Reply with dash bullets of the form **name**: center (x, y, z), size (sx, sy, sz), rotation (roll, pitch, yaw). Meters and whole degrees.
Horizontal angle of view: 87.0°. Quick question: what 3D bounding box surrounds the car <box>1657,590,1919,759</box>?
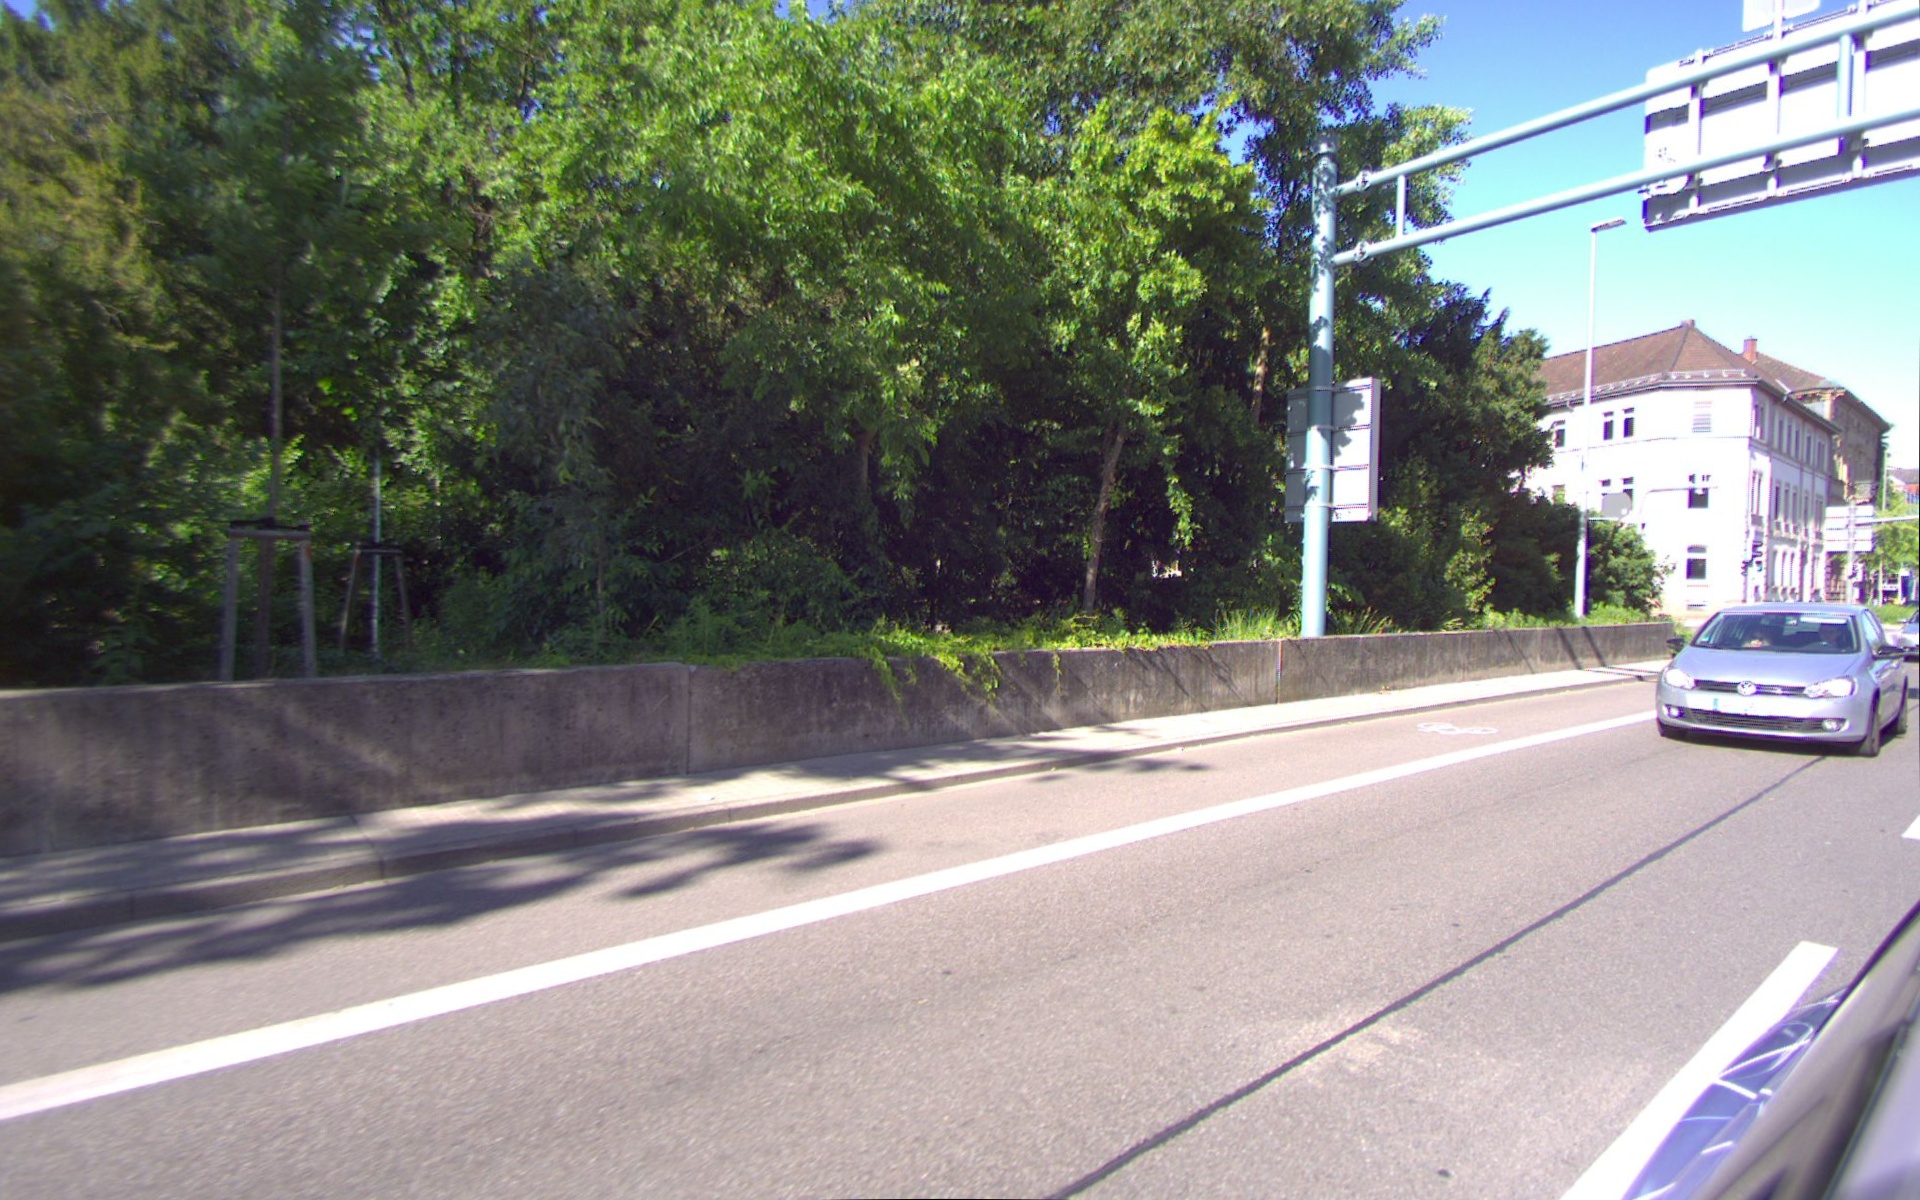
- **car**: center (9.153, 0.644, 10.991), size (3.931, 1.493, 1.701), rotation (-1, 1, -41)

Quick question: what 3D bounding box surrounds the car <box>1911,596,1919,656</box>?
- **car**: center (25.254, 0.634, 25.259), size (3.931, 1.442, 1.837), rotation (-1, 1, -41)
